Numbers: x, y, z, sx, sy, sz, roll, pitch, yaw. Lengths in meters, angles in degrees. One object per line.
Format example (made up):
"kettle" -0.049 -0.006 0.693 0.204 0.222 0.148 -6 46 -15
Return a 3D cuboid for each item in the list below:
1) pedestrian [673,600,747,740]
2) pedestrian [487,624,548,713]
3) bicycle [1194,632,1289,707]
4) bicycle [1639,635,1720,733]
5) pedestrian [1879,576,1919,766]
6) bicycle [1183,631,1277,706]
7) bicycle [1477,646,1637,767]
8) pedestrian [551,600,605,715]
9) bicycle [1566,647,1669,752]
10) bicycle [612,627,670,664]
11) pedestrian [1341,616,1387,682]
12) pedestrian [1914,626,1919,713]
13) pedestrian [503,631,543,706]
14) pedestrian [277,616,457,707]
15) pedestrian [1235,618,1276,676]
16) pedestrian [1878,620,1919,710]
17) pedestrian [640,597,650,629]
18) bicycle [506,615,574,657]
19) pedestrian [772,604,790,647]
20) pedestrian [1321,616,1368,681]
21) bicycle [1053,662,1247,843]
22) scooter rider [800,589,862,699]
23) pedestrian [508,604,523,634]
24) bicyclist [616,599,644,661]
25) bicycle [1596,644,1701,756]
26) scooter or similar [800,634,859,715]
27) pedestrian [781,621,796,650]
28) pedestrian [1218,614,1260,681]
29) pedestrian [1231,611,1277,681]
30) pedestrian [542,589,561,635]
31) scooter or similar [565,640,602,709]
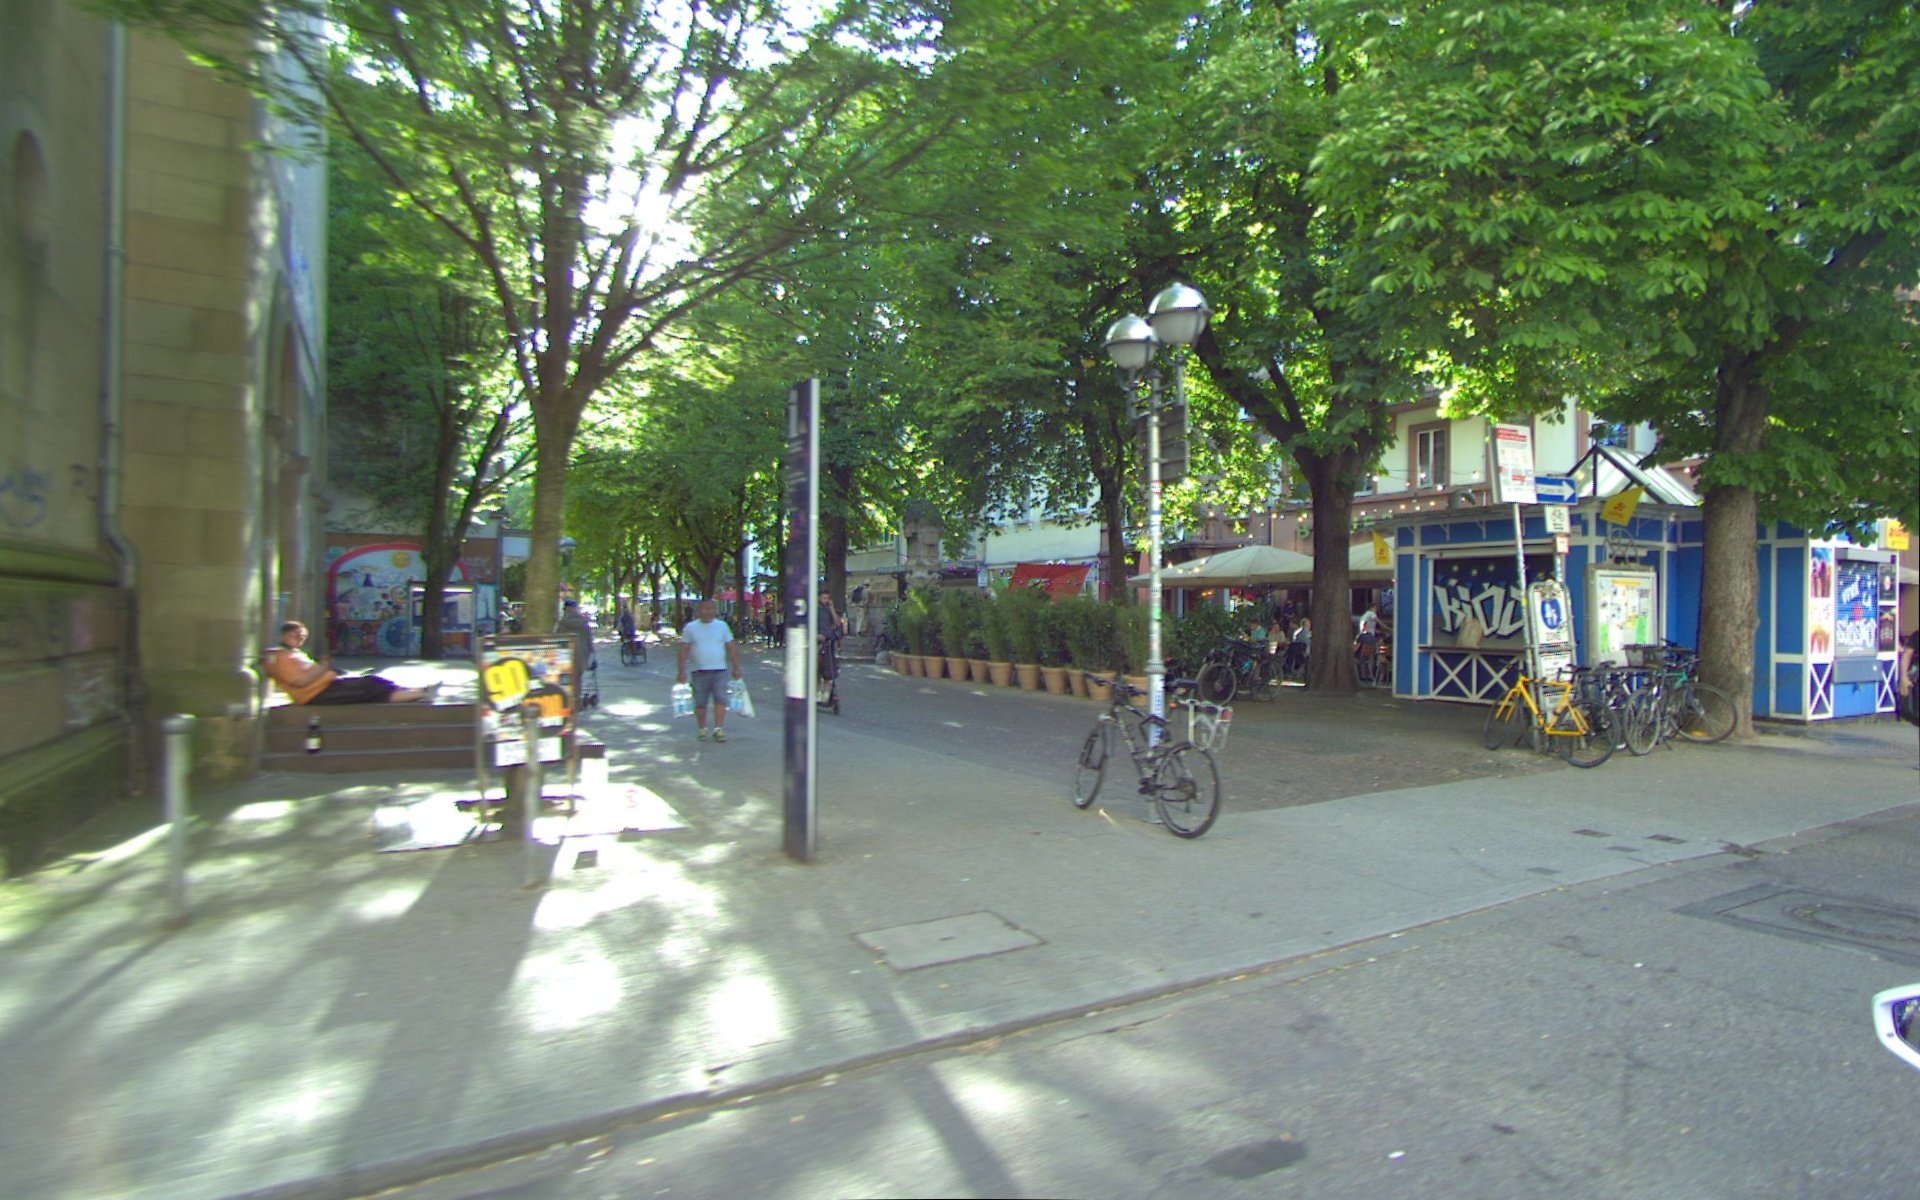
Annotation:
"pedestrian" -2.979 0.815 11.961 0.707 1.614 0.476 2 0 -33
"pedestrian" -6.558 1.002 14.870 0.733 1.248 0.610 2 0 -31
"bicycle" 4.527 1.088 16.086 1.915 1.106 0.227 -1 1 -31
"bicycle" 9.389 1.053 13.075 2.024 1.146 0.492 1 1 -44
"pedestrian" 9.919 0.721 10.155 0.712 1.898 0.713 2 0 -31
"bicycle" 4.403 1.089 16.307 1.915 1.106 0.227 -1 2 -31
"bicycle" 6.185 1.067 10.497 0.341 1.097 1.571 2 0 -19
"pedestrian" -5.680 0.835 14.929 0.546 1.653 0.554 2 0 -43
"bicycle" 7.295 1.074 11.120 1.560 1.060 0.291 0 1 -31
"bicycle" -9.665 1.359 30.583 0.479 1.003 2.767 2 0 9
"pedestrian" 8.410 1.006 20.904 0.625 1.338 0.596 2 0 -25
"pedestrian" 16.504 1.178 16.744 0.610 1.464 0.702 2 0 -31
"pedestrian" -6.810 1.057 15.649 0.485 1.122 0.611 2 0 -31
"pedestrian" -5.564 0.560 9.491 1.390 0.770 0.952 2 0 -31
"pedestrian" 6.684 1.055 22.754 0.670 1.284 0.561 2 0 -31
"pedestrian" 15.857 1.076 16.711 0.610 1.464 0.702 2 0 -31
"pedestrian" -20.509 0.854 65.412 0.502 2.040 0.449 2 0 -31
"bicycle" -13.227 1.149 31.679 1.906 1.283 0.520 2 0 -31
"pedestrian" -6.987 0.994 39.297 0.583 1.685 0.312 2 0 -31
"pedestrian" 8.258 1.037 21.581 0.604 1.338 0.695 2 0 -22
"bicycle" 1.337 1.051 7.395 0.343 1.080 1.681 2 0 -31
"scooter rider" -2.027 0.678 15.752 0.712 1.670 0.683 2 0 -31
"pedestrian" -26.244 1.095 59.291 0.722 1.760 0.758 1 0 -31
"bicyclist" -9.771 0.881 29.777 0.494 1.785 0.683 2 0 9
"bicycle" 7.418 1.047 10.808 1.560 1.097 0.291 0 1 -31
"scooter or similar" -2.025 1.133 15.565 0.509 1.175 1.049 2 0 -31
"pedestrian" -6.880 1.416 40.304 0.407 1.165 0.427 2 0 -31
"pedestrian" 5.652 0.964 20.357 0.590 1.322 0.541 2 0 -31
"pedestrian" 5.831 0.900 19.917 0.627 1.338 0.565 2 0 -31
"pedestrian" -21.411 0.621 52.679 0.722 2.348 0.757 2 0 -33
"scooter or similar" -5.859 1.150 15.651 0.497 1.019 0.730 2 0 -19
